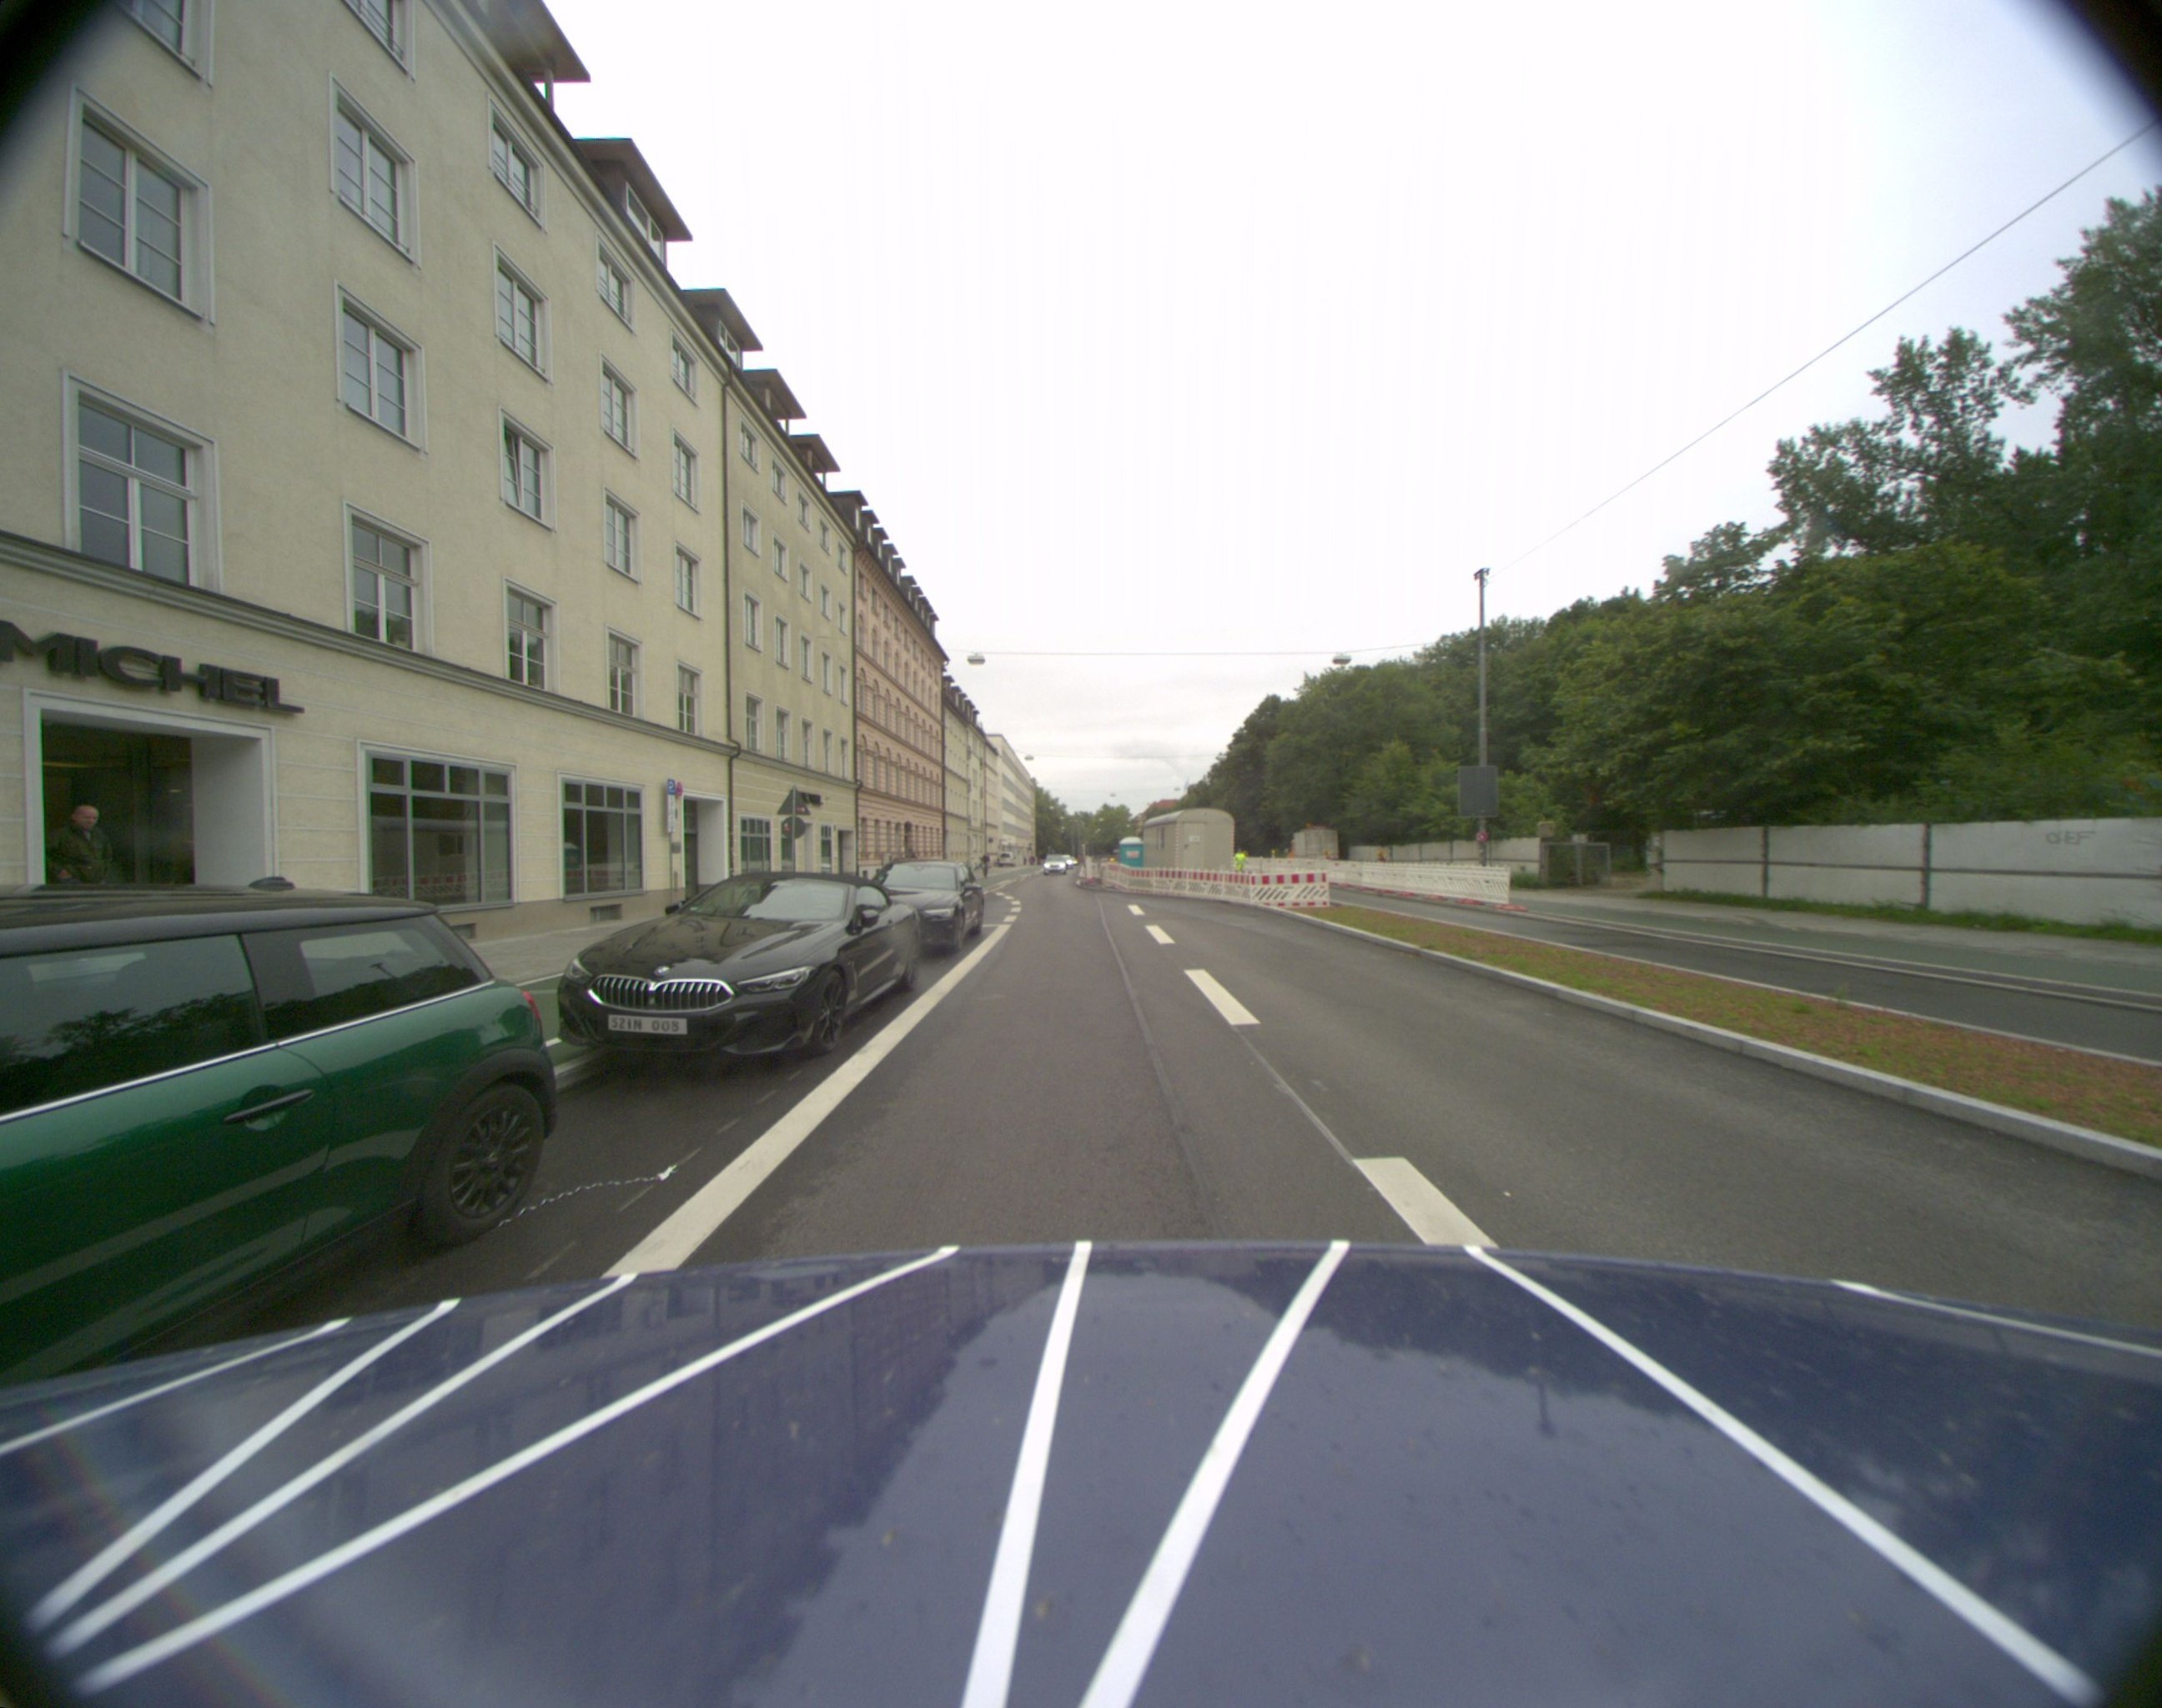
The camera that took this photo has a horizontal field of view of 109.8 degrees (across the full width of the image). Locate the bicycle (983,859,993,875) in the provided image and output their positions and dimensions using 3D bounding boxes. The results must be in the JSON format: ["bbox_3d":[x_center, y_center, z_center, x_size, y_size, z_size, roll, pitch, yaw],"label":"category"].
[{"bbox_3d":[-6.393,0.881,52.309,0.632,1.031,2.016,-1,0,-6],"label":"bicycle"}]

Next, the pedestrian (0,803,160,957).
[{"bbox_3d":[-11.429,0.278,8.670,0.861,1.679,0.781,0,1,2],"label":"pedestrian"}]

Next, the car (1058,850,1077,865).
[{"bbox_3d":[-1.426,0.357,80.145,1.759,1.461,3.998,-2,0,-4],"label":"car"}]

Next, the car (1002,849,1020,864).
[{"bbox_3d":[-8.660,0.327,94.401,1.766,1.821,3.999,-1,0,0],"label":"car"}]

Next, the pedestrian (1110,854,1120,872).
[{"bbox_3d":[3.532,0.909,79.433,0.860,1.826,0.874,-1,1,-7],"label":"pedestrian"}]

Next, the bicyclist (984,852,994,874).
[{"bbox_3d":[-6.327,0.611,52.329,0.632,1.459,0.652,-1,1,-6],"label":"bicyclist"}]

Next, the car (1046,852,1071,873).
[{"bbox_3d":[-1.776,0.633,59.095,1.759,1.461,3.998,-2,0,-4],"label":"car"}]

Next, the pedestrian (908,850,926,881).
[{"bbox_3d":[-9.498,0.650,44.035,0.795,1.735,0.833,-1,1,1],"label":"pedestrian"}]

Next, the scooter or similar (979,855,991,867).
[{"bbox_3d":[-9.712,0.720,76.817,1.078,1.185,0.453,-1,1,-29],"label":"scooter or similar"}]

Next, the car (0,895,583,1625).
[{"bbox_3d":[-3.266,0.986,1.671,1.679,1.512,3.829,-2,0,2],"label":"car"}]

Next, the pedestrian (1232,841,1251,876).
[{"bbox_3d":[8.968,0.268,42.487,0.890,1.930,0.875,-1,1,-2],"label":"pedestrian"}]

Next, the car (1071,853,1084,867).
[{"bbox_3d":[-0.561,0.955,121.633,1.998,2.002,3.999,-2,1,1],"label":"car"}]

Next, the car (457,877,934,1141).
[{"bbox_3d":[-2.820,1.027,7.006,1.830,1.399,4.719,-2,0,2],"label":"car"}]

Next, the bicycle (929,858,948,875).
[{"bbox_3d":[-9.981,0.858,53.210,0.556,1.170,1.727,0,1,15],"label":"bicycle"}]

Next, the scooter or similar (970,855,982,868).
[{"bbox_3d":[-9.949,0.709,71.970,0.552,1.238,1.079,0,1,35],"label":"scooter or similar"}]

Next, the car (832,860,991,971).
[{"bbox_3d":[-2.751,0.923,13.370,1.813,1.472,4.461,3,0,-1],"label":"car"}]
